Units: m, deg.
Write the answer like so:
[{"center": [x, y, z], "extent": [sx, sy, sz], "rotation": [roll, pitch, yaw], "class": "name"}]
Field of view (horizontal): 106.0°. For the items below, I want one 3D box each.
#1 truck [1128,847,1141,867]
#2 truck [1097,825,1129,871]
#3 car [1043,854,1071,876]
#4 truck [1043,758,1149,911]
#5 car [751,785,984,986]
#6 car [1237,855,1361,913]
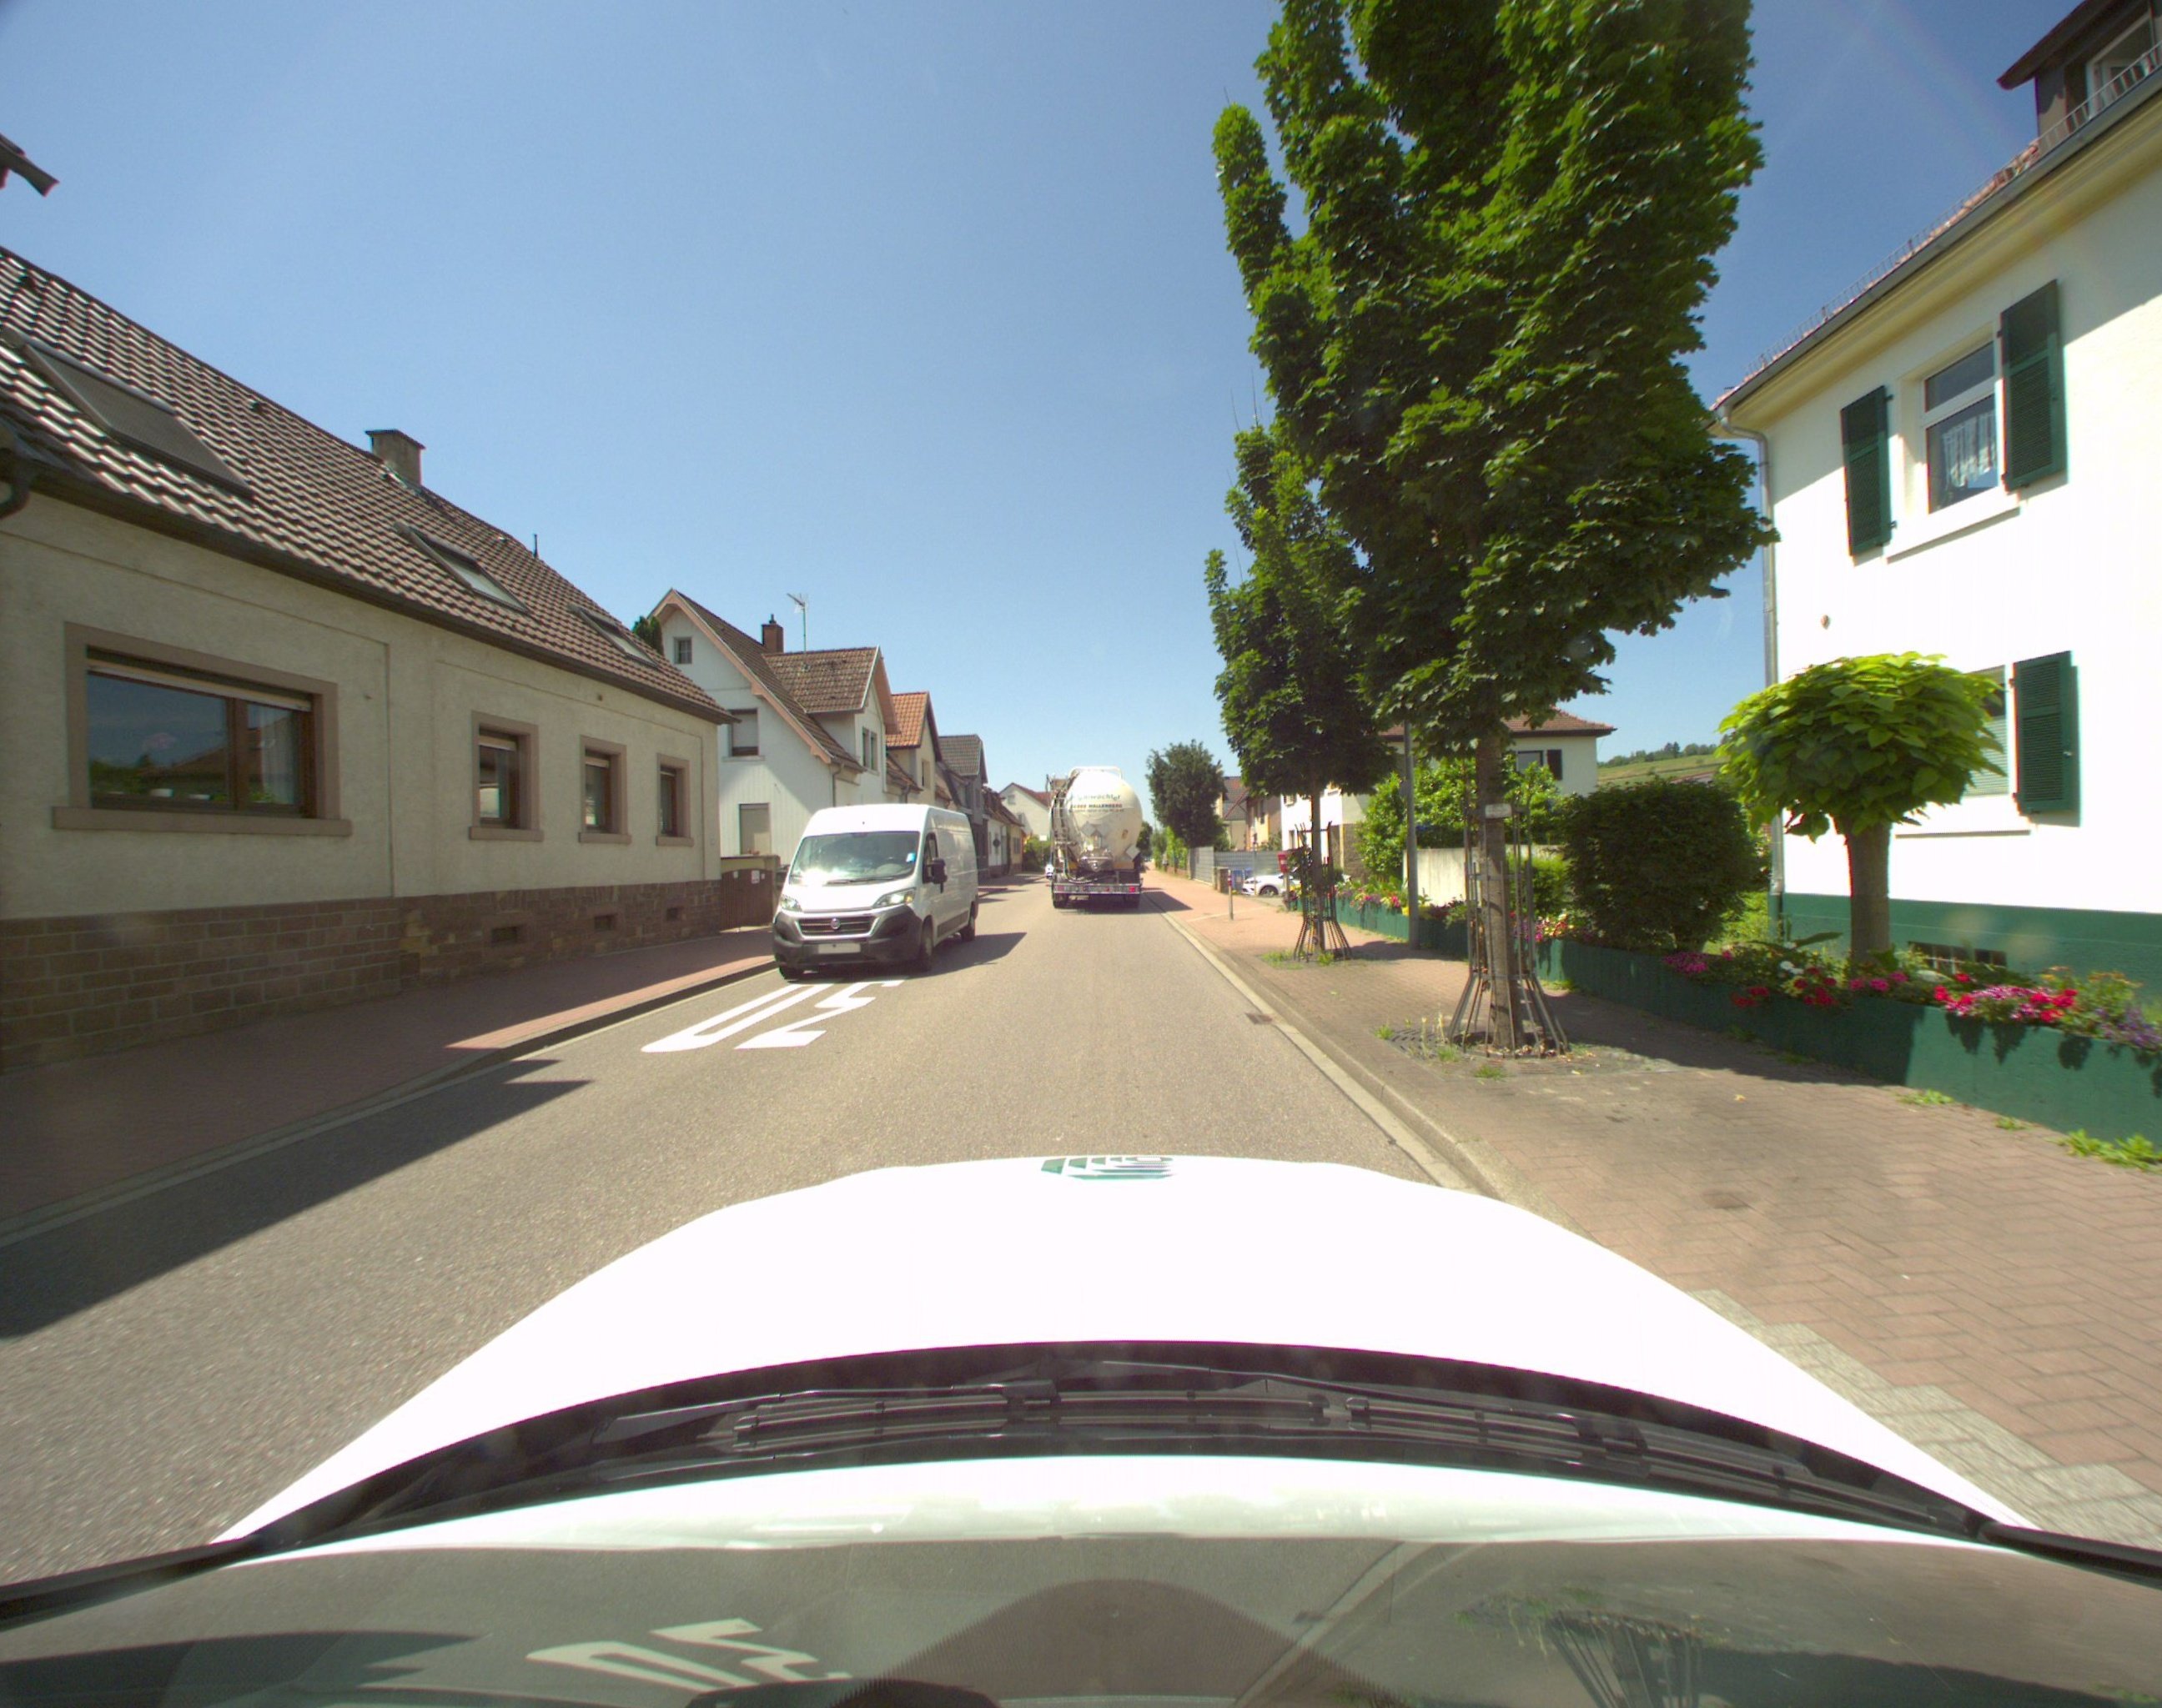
[{"center": [8.504, 0.481, 128.453], "extent": [1.984, 3.137, 9.459], "rotation": [0, 0, 4], "class": "truck"}, {"center": [3.064, -0.484, 75.284], "extent": [2.721, 3.960, 8.149], "rotation": [0, -1, 4], "class": "truck"}, {"center": [-1.778, 0.834, 62.848], "extent": [1.844, 1.571, 4.255], "rotation": [-4, -1, 1], "class": "car"}, {"center": [0.462, -0.452, 25.113], "extent": [2.723, 3.960, 8.142], "rotation": [0, -1, 1], "class": "truck"}, {"center": [-3.080, 0.413, 13.385], "extent": [2.062, 2.455, 6.008], "rotation": [-3, 0, 1], "class": "car"}, {"center": [8.358, 1.117, 31.447], "extent": [4.155, 1.587, 1.908], "rotation": [8, 0, 2], "class": "car"}]
